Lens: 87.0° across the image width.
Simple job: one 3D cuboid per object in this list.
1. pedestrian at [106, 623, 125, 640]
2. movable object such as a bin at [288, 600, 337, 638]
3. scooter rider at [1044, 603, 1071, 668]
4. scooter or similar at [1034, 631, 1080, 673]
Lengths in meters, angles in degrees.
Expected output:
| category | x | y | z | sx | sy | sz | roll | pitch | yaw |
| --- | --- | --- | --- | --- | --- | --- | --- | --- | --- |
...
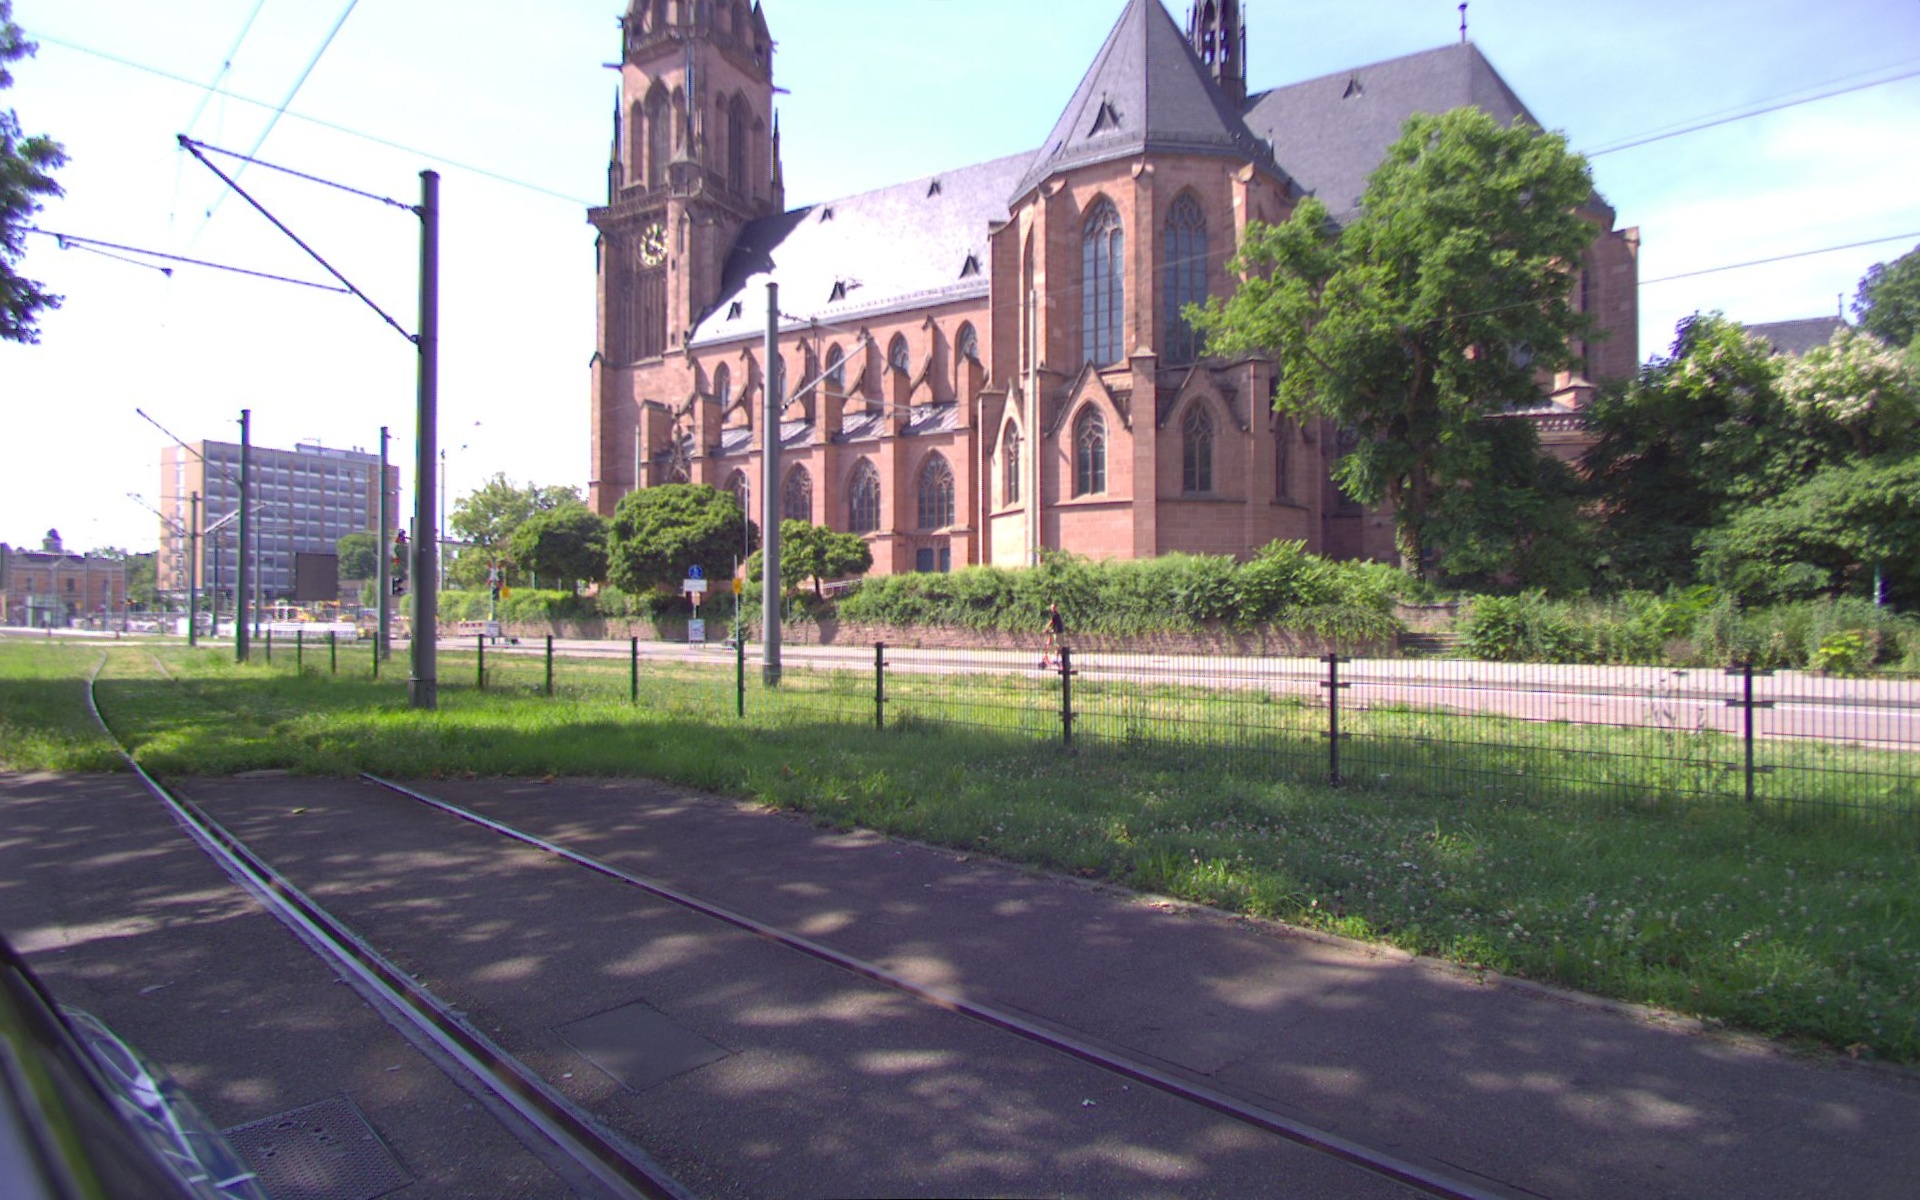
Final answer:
| category | x | y | z | sx | sy | sz | roll | pitch | yaw |
| --- | --- | --- | --- | --- | --- | --- | --- | --- | --- |
| pedestrian | -94.170 | 3.500 | 112.859 | 1.420 | 1.820 | 1.409 | -1 | -2 | 37 |
| movable object such as a bin | -68.475 | 2.034 | 107.075 | 2.904 | 3.911 | 3.327 | 0 | -1 | 8 |
| scooter rider | 2.853 | 1.048 | 29.764 | 0.658 | 1.881 | 0.665 | 0 | -1 | -6 |
| scooter or similar | 2.844 | 1.528 | 29.752 | 1.251 | 1.213 | 0.658 | 0 | -1 | -6 |
